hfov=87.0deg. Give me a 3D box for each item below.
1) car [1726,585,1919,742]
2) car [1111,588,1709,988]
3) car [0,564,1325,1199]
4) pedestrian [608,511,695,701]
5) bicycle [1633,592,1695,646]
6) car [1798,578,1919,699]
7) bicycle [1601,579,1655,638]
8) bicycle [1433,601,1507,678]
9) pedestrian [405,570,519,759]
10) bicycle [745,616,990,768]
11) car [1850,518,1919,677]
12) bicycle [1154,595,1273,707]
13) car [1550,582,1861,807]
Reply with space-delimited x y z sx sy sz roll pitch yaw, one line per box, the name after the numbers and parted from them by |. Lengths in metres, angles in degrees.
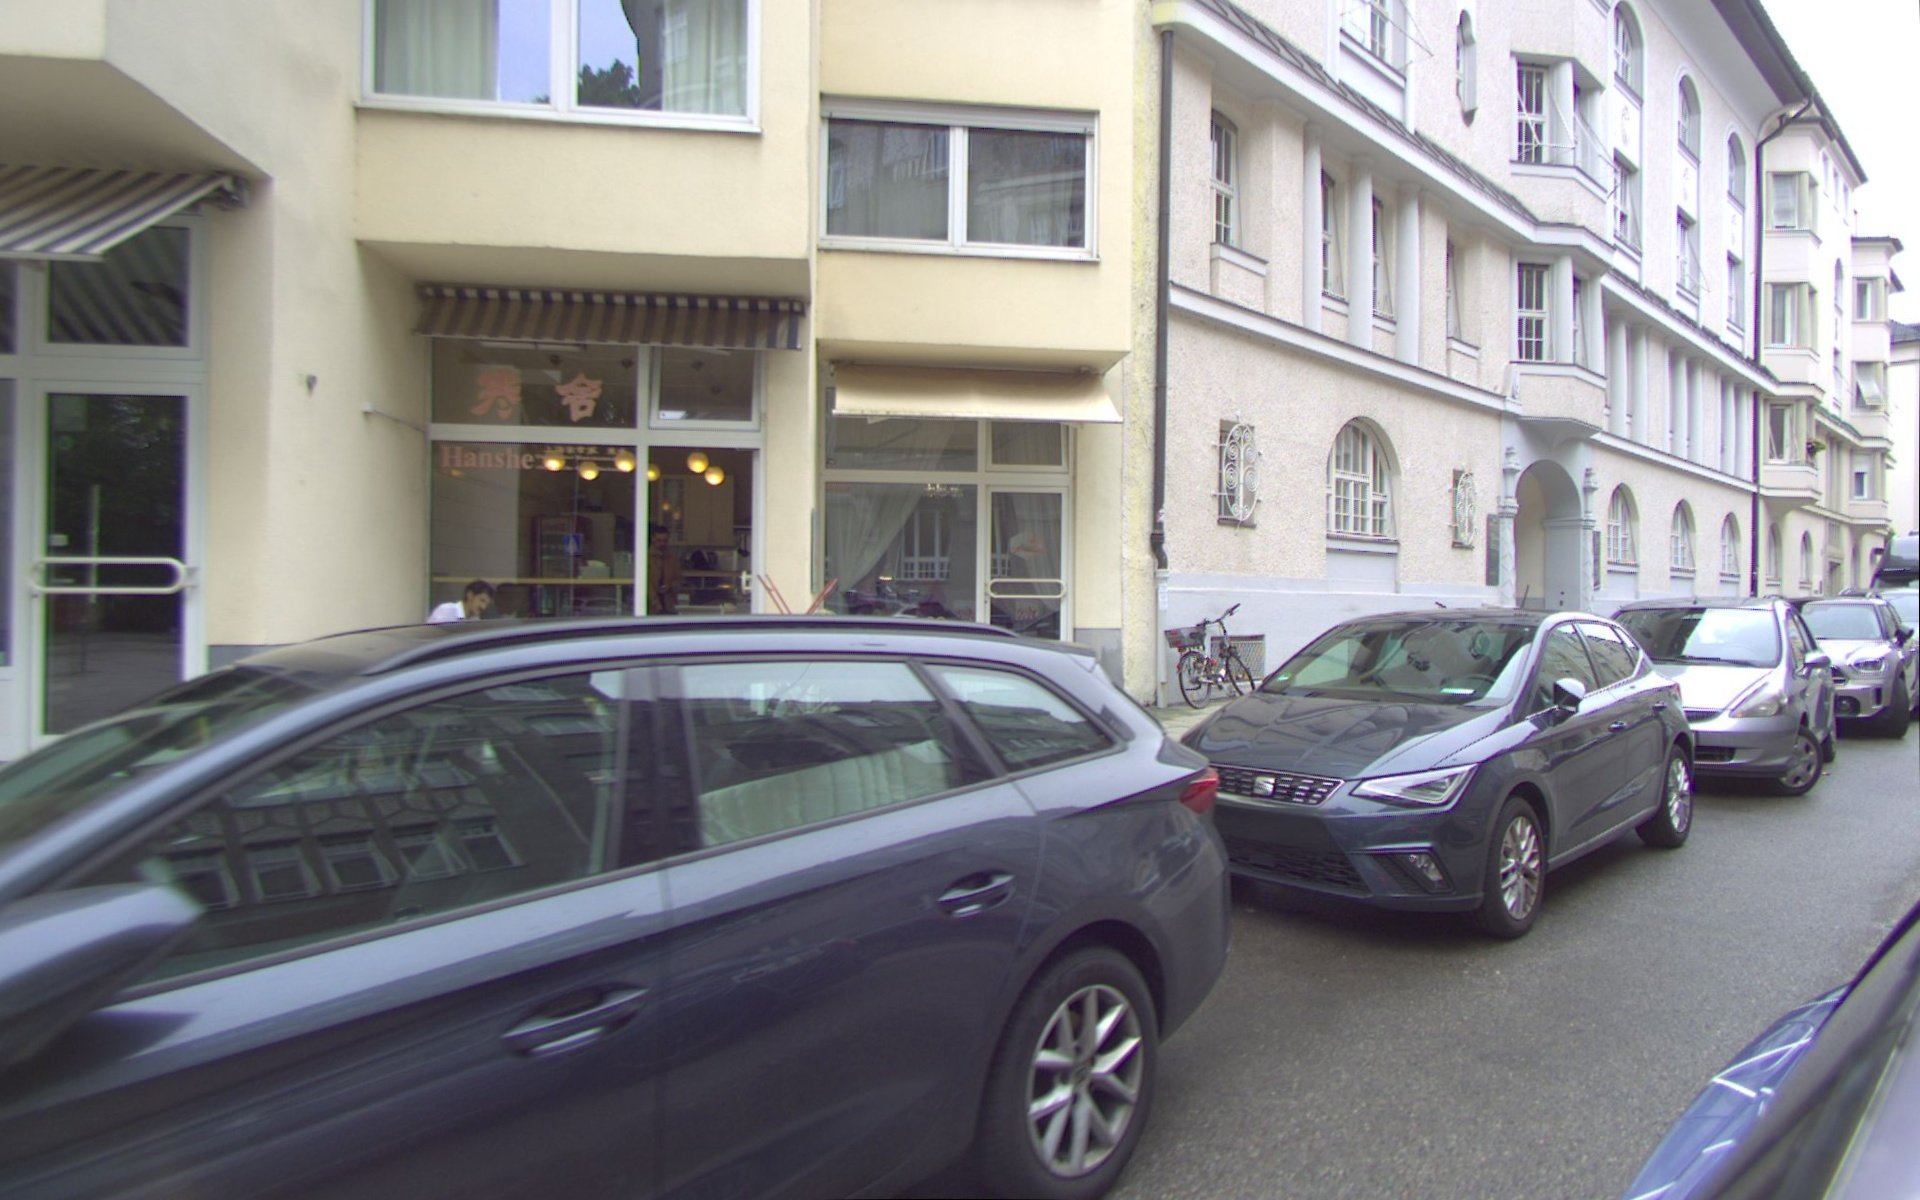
10.764 0.646 12.338 3.901 1.612 1.636 0 0 -43 | car
2.697 0.695 5.649 3.788 1.490 1.636 0 0 -41 | car
-1.076 0.700 2.303 4.532 1.490 1.695 0 0 -42 | car
-3.230 0.045 10.668 0.726 1.870 1.019 3 1 -14 | pedestrian
15.655 0.401 22.498 1.753 1.165 0.483 0 0 -32 | bicycle
15.163 0.552 16.102 4.590 1.710 1.997 0 -1 -40 | car
14.053 0.166 21.276 1.758 1.164 0.482 0 3 -43 | bicycle
8.200 0.601 16.245 1.758 1.165 0.482 0 0 -43 | bicycle
-3.865 0.481 7.893 0.660 1.416 0.533 0 0 -7 | pedestrian
-0.700 0.684 7.771 1.763 1.045 0.754 1 1 -5 | bicycle
20.436 -0.095 20.894 6.025 2.997 2.258 -1 0 -41 | car
3.001 0.561 11.904 0.563 1.207 1.650 4 3 44 | bicycle
6.688 0.651 8.928 3.792 1.556 1.635 0 0 -44 | car
